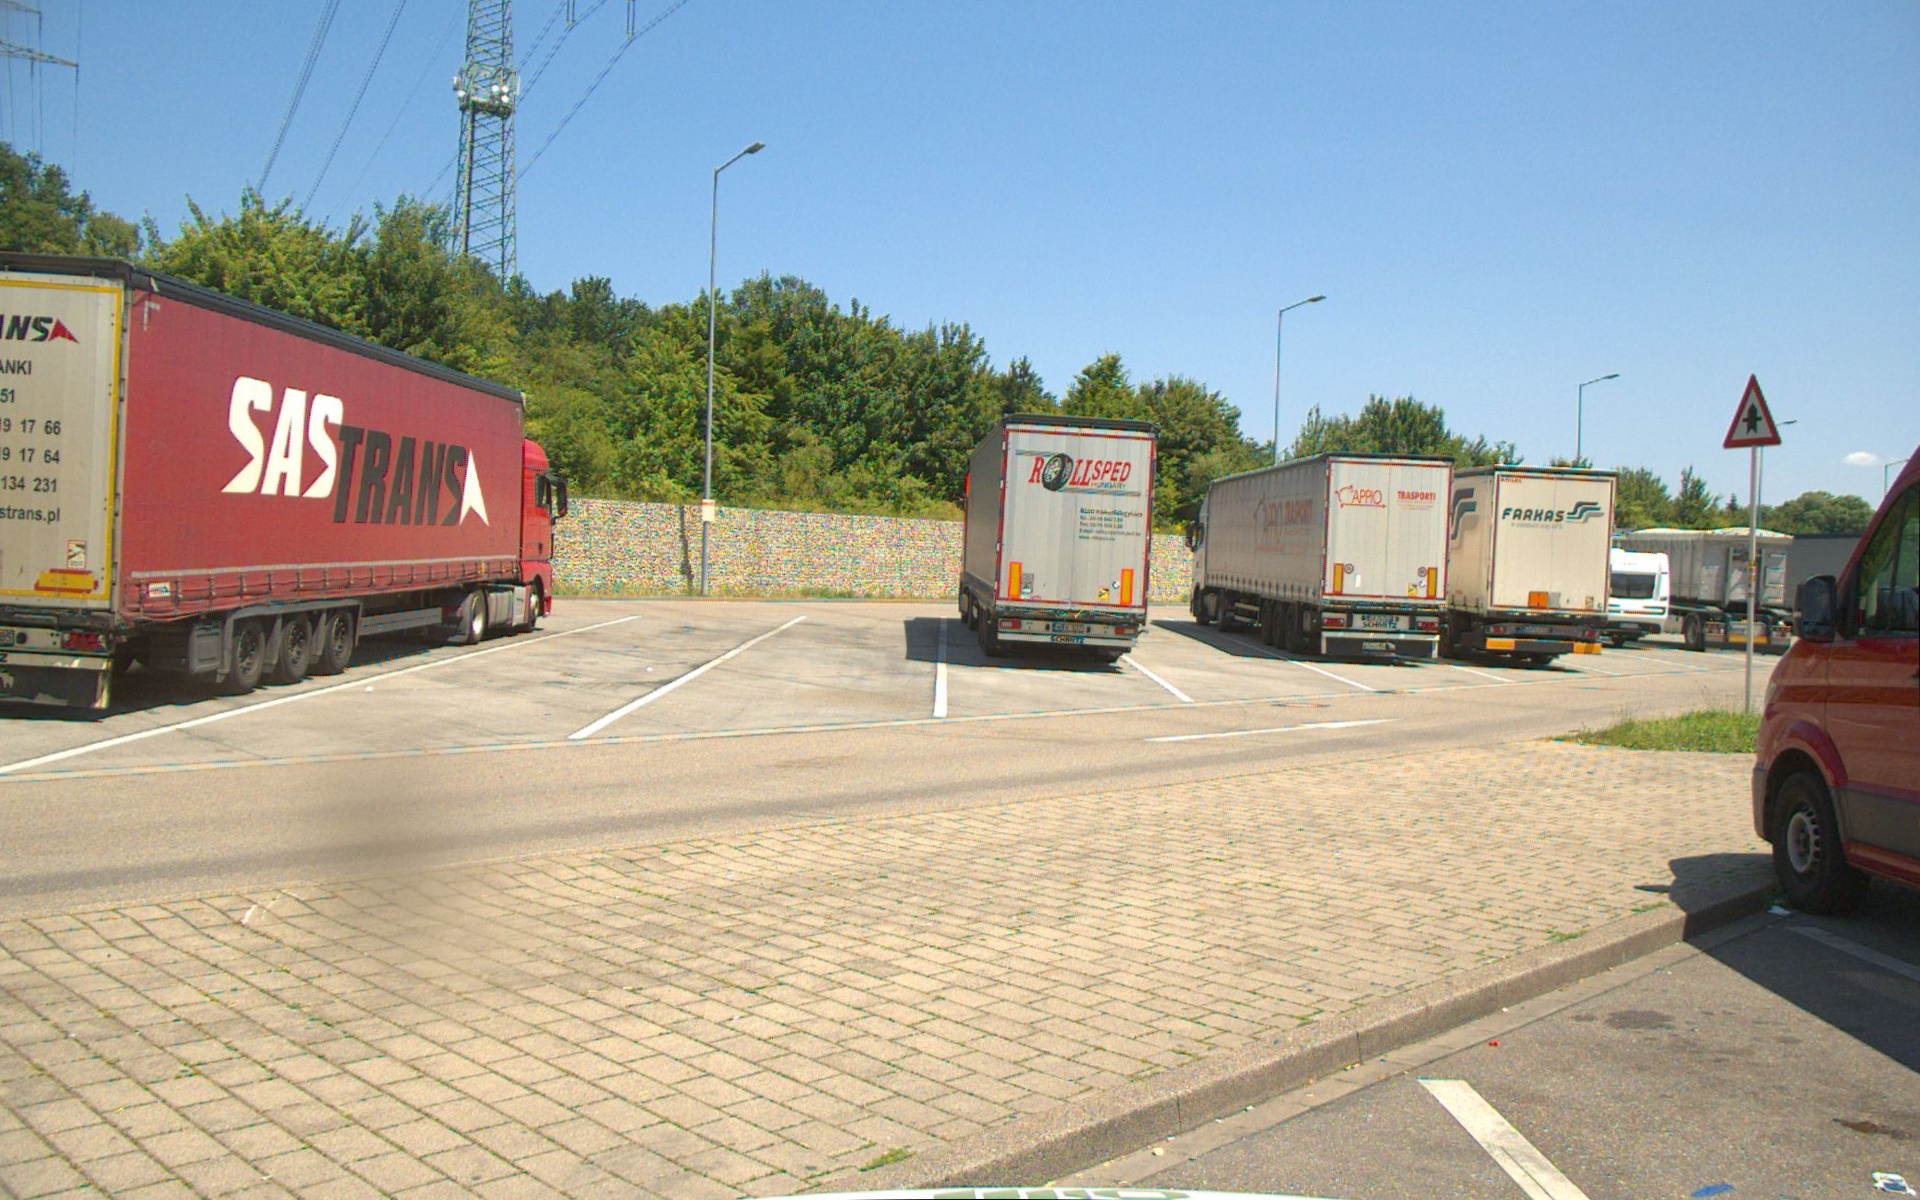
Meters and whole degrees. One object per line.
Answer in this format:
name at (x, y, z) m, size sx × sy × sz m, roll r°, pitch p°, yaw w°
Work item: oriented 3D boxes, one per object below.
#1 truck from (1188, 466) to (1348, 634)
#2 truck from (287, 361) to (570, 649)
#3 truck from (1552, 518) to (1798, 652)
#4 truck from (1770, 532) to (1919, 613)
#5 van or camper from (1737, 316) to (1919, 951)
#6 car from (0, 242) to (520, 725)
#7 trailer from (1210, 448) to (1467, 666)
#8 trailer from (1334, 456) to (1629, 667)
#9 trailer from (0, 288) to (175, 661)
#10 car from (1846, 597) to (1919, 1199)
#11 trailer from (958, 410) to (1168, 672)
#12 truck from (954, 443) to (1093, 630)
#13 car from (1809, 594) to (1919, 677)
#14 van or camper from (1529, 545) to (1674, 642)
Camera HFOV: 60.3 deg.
truck at (8.160, -1.390, 44.742) m, size 2.808 × 4.107 × 6.956 m, roll 2°, pitch 2°, yaw -1°
truck at (-8.703, -1.532, 27.883) m, size 2.641 × 4.184 × 6.239 m, roll 2°, pitch 2°, yaw 0°
truck at (21.740, -0.655, 51.252) m, size 2.437 × 3.630 × 11.423 m, roll 2°, pitch 2°, yaw -1°
truck at (34.693, -1.076, 63.646) m, size 2.082 × 2.869 × 9.777 m, roll 1°, pitch 1°, yaw -1°
van or camper at (4.987, 0.175, 5.566) m, size 1.954 × 2.700 × 6.482 m, roll 1°, pitch 1°, yaw 3°
car at (-8.681, -1.282, 20.965) m, size 2.641 × 4.184 × 12.935 m, roll 2°, pitch 2°, yaw 0°
trailer at (8.239, -1.094, 38.111) m, size 2.808 × 4.107 × 12.438 m, roll 2°, pitch 2°, yaw -1°
trailer at (11.816, -1.028, 39.229) m, size 2.808 × 4.107 × 12.438 m, roll 2°, pitch 2°, yaw -1°
trailer at (-12.551, -1.406, 17.166) m, size 2.756 × 4.341 × 12.940 m, roll 2°, pitch 2°, yaw -1°
car at (2.538, 0.797, 1.118) m, size 1.584 × 1.509 × 3.762 m, roll 1°, pitch 1°, yaw -6°
trailer at (1.648, -1.243, 33.676) m, size 2.809 × 4.107 × 14.238 m, roll 2°, pitch 2°, yaw -2°
truck at (1.417, -1.571, 40.756) m, size 2.809 × 4.107 × 7.026 m, roll 2°, pitch 2°, yaw -2°
car at (19.132, 0.697, 34.900) m, size 1.809 × 1.589 × 3.939 m, roll 1°, pitch 1°, yaw 32°
van or camper at (18.260, -0.228, 47.355) m, size 2.061 × 2.606 × 5.372 m, roll 1°, pitch 1°, yaw 0°
